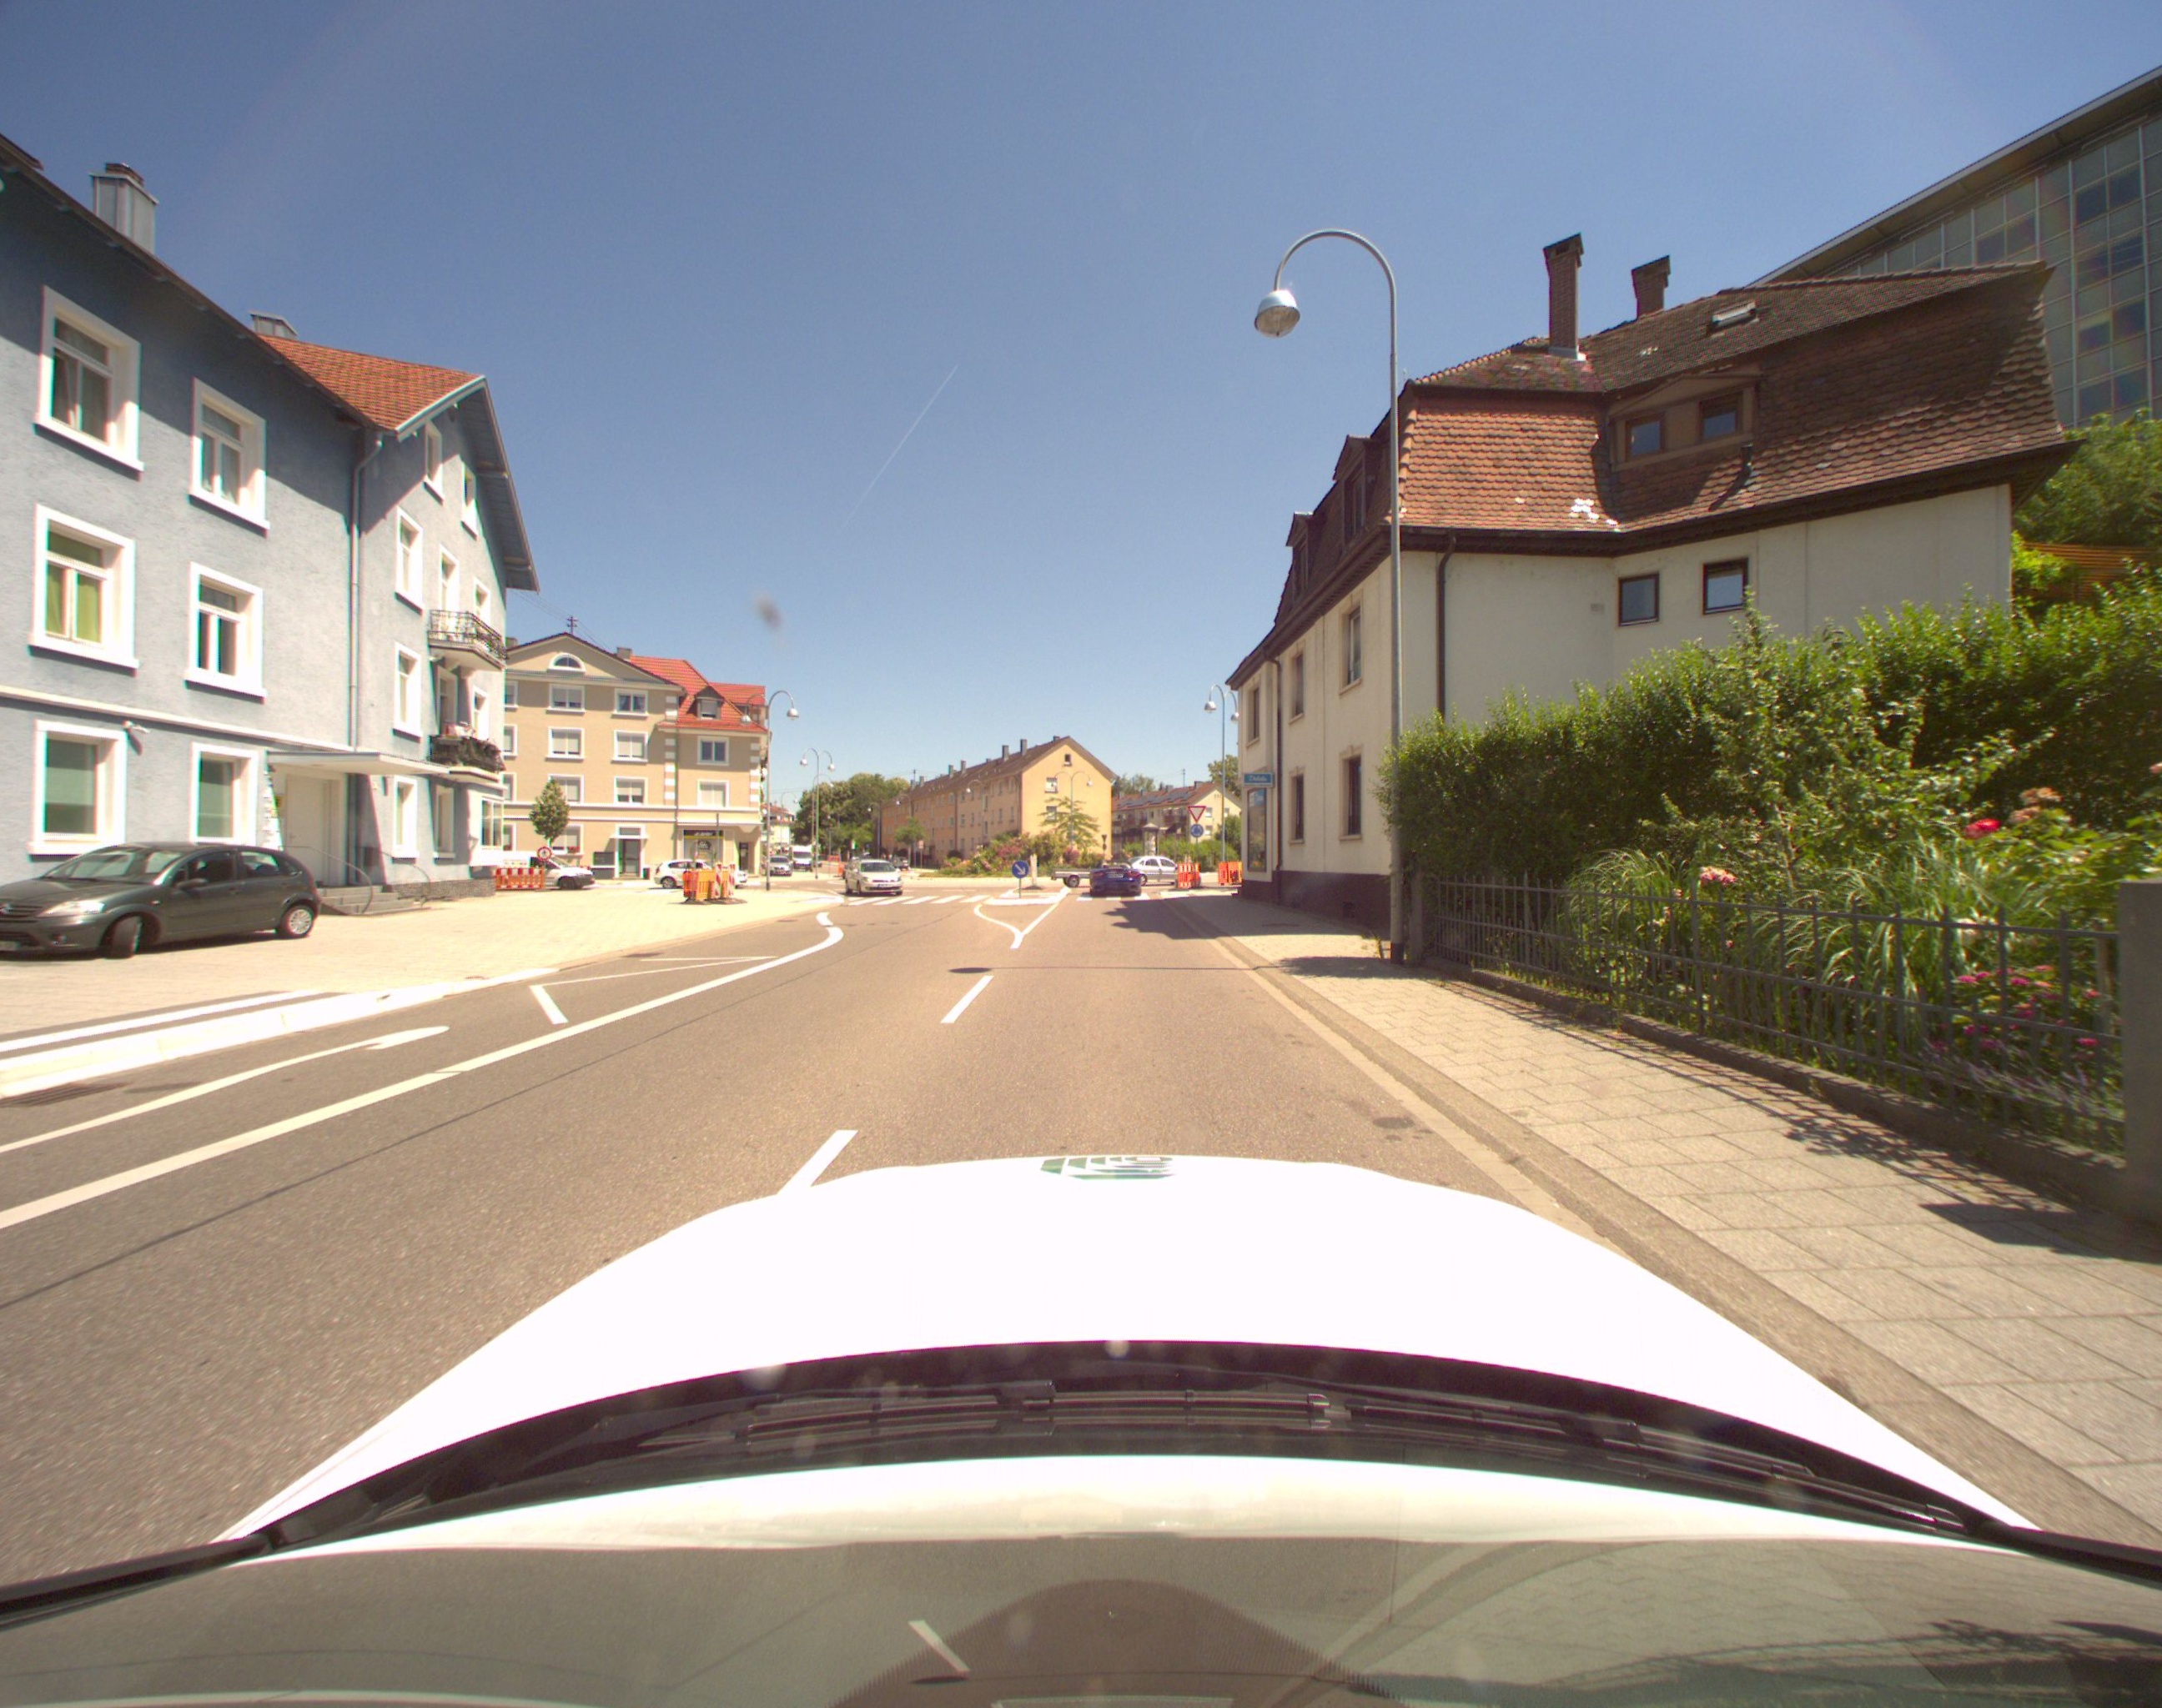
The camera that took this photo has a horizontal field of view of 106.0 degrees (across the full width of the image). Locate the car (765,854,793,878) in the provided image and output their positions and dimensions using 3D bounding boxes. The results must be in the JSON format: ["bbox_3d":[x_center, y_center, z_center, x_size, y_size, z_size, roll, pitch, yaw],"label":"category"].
[{"bbox_3d":[-22.492,0.865,60.644,1.783,1.686,4.659,0,-1,-22],"label":"car"}]

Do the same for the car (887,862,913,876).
[{"bbox_3d":[-20.352,1.626,91.339,1.823,1.500,3.964,2,-2,-28],"label":"car"}]

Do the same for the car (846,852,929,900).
[{"bbox_3d":[-7.952,0.859,33.985,1.828,1.529,4.402,-5,2,7],"label":"car"}]

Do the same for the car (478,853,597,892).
[{"bbox_3d":[-25.195,0.840,37.895,4.240,1.777,1.771,0,0,-18],"label":"car"}]

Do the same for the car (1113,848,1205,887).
[{"bbox_3d":[3.771,0.641,39.202,4.138,1.747,1.771,2,-1,-28],"label":"car"}]

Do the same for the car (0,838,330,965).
[{"bbox_3d":[-13.291,0.639,11.745,1.575,1.534,3.767,0,-2,-5],"label":"car"}]

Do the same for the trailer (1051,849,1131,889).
[{"bbox_3d":[0.469,0.686,37.495,3.204,1.717,1.741,2,-1,-27],"label":"trailer"}]

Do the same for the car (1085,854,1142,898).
[{"bbox_3d":[1.156,0.861,30.865,1.865,1.530,4.503,0,-2,-1],"label":"car"}]

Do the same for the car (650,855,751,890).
[{"bbox_3d":[-18.510,0.890,39.776,4.117,1.551,1.780,-1,-1,-12],"label":"car"}]

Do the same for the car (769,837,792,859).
[{"bbox_3d":[-35.898,-0.699,97.297,2.155,2.533,4.815,2,-1,-25],"label":"car"}]

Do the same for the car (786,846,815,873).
[{"bbox_3d":[-28.371,0.570,82.212,2.154,2.533,6.186,2,-1,-25],"label":"car"}]
